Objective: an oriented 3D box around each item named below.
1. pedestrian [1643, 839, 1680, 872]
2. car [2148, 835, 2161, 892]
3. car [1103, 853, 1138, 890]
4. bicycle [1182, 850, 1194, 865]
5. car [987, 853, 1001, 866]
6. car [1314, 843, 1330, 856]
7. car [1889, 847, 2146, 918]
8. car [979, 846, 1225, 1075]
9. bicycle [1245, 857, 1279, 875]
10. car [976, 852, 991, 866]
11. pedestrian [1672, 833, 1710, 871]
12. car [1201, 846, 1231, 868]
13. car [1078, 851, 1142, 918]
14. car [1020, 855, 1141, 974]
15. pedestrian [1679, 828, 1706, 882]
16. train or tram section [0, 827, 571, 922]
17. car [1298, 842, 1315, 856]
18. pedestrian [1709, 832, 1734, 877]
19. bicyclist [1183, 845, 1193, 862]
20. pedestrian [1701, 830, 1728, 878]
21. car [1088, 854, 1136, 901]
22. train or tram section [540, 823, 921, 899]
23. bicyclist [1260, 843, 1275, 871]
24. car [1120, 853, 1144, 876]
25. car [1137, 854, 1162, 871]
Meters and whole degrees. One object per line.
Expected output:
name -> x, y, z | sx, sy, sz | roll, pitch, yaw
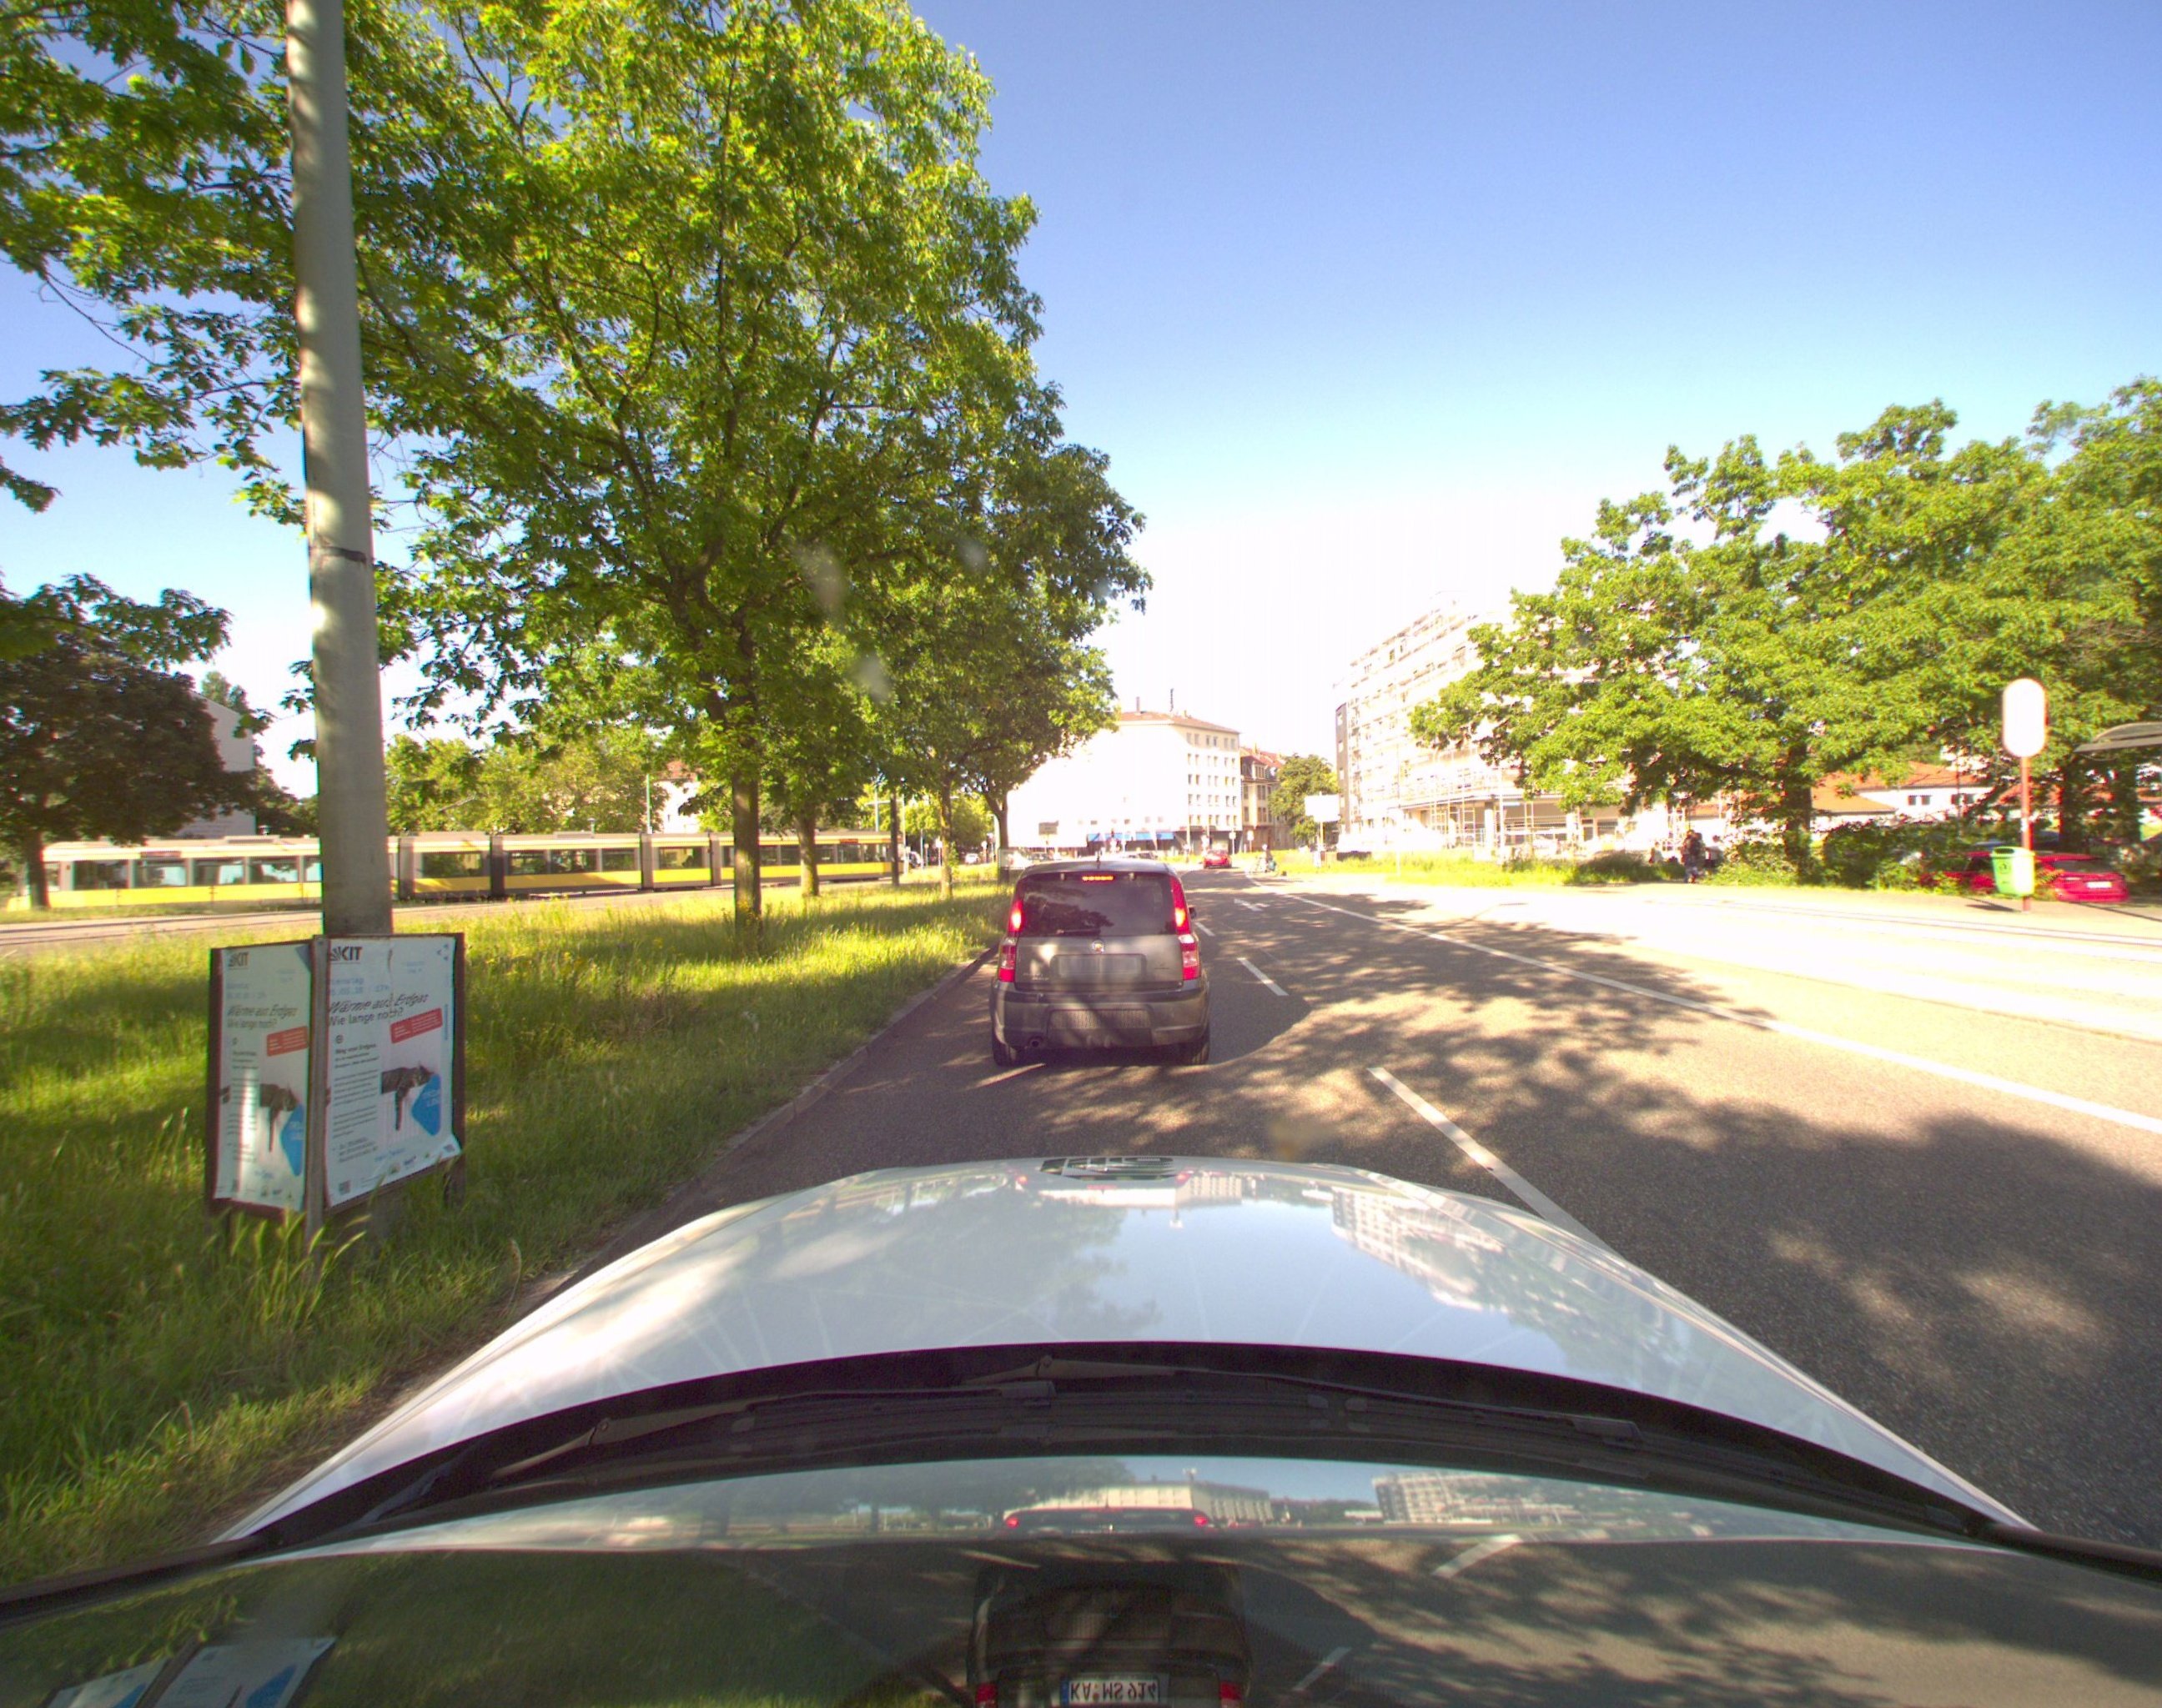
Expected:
pedestrian -> 25.892, 0.071, 36.317 | 0.893, 1.447, 0.962 | -2, 0, -13
car -> 29.865, 0.221, 20.173 | 1.911, 1.486, 3.725 | -2, 0, -17
car -> 1.605, 0.699, 33.962 | 1.351, 1.449, 3.267 | -2, 0, 2
bicycle -> 9.079, 0.304, 68.980 | 0.706, 1.198, 2.520 | 0, -1, 1
car -> -14.257, 0.913, 133.865 | 1.988, 2.013, 3.997 | -2, 0, -2
car -> 27.744, -0.525, 93.554 | 1.514, 1.314, 3.304 | -2, 0, 20
car -> 21.990, 0.601, 19.370 | 1.747, 1.486, 3.743 | -2, 0, -2
car -> 0.208, 0.708, 7.530 | 1.622, 1.508, 4.002 | -2, 0, 2
bicycle -> 9.891, 0.666, 44.530 | 1.773, 0.945, 0.563 | -1, 0, 44
car -> -14.837, 0.750, 124.155 | 1.988, 2.013, 3.997 | -2, 0, -2
pedestrian -> 27.261, -0.081, 36.390 | 0.889, 1.653, 0.983 | -2, 0, -14
car -> 9.751, 0.184, 59.167 | 1.877, 1.428, 4.394 | -1, 1, 6
car -> 0.729, 0.704, 20.789 | 1.458, 1.508, 3.506 | -2, 0, 2
car -> 0.052, 0.753, 11.757 | 1.458, 1.401, 3.395 | -2, 0, 2
pedestrian -> 18.570, 0.017, 24.735 | 0.516, 1.612, 0.595 | -2, 0, 28
train or tram section -> -35.756, 0.696, 38.495 | 19.429, 3.513, 3.277 | -2, 0, -28
car -> 24.918, -0.528, 89.992 | 1.669, 1.449, 3.588 | -2, 0, 18
pedestrian -> 20.872, 0.019, 26.530 | 0.516, 1.447, 0.595 | -2, 0, 28
bicyclist -> 9.093, -0.032, 68.966 | 0.739, 1.438, 0.845 | 0, -1, 1
pedestrian -> 19.339, -0.001, 24.860 | 0.516, 1.447, 0.595 | -2, 0, 28
car -> 1.031, 0.734, 27.354 | 1.458, 1.424, 3.383 | -2, 0, 2
train or tram section -> -19.879, 0.114, 49.039 | 20.911, 3.770, 3.268 | -2, 0, -39
bicyclist -> 10.147, 0.184, 44.282 | 0.578, 1.493, 0.553 | -2, 0, 44
car -> 3.099, 0.618, 49.678 | 1.351, 1.281, 2.877 | -2, 0, 2
car -> 4.868, 0.584, 57.711 | 1.133, 1.064, 2.735 | -2, 0, 19
